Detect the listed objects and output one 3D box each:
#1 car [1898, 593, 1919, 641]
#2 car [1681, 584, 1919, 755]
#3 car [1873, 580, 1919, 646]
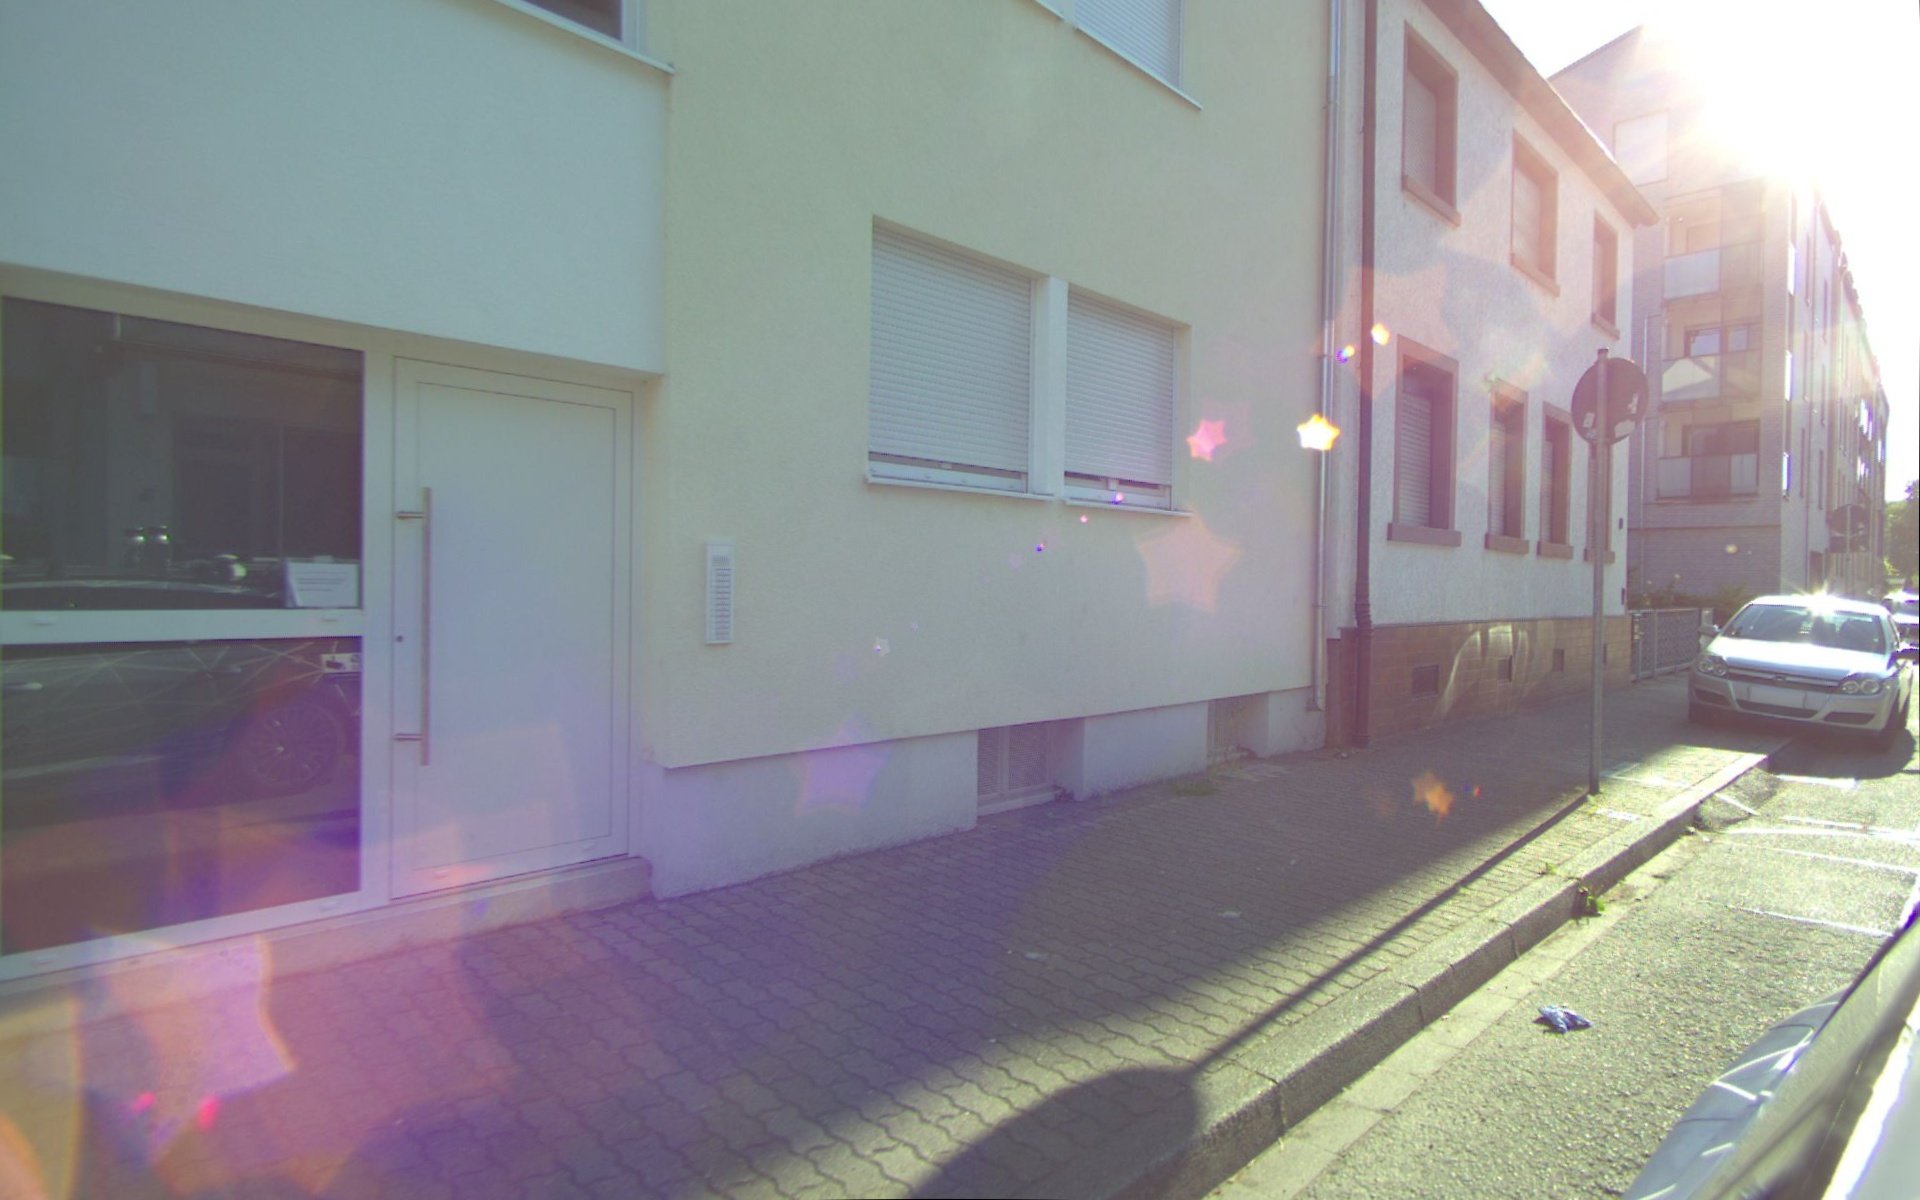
[{"bbox_3d":[35.283,0.629,36.548,1.993,1.674,4.689,2,1,42],"label":"car"},{"bbox_3d":[9.796,0.634,11.542,4.365,1.510,1.743,0,3,-44],"label":"car"},{"bbox_3d":[26.332,0.380,27.539,4.547,1.656,1.857,1,4,-44],"label":"car"}]
